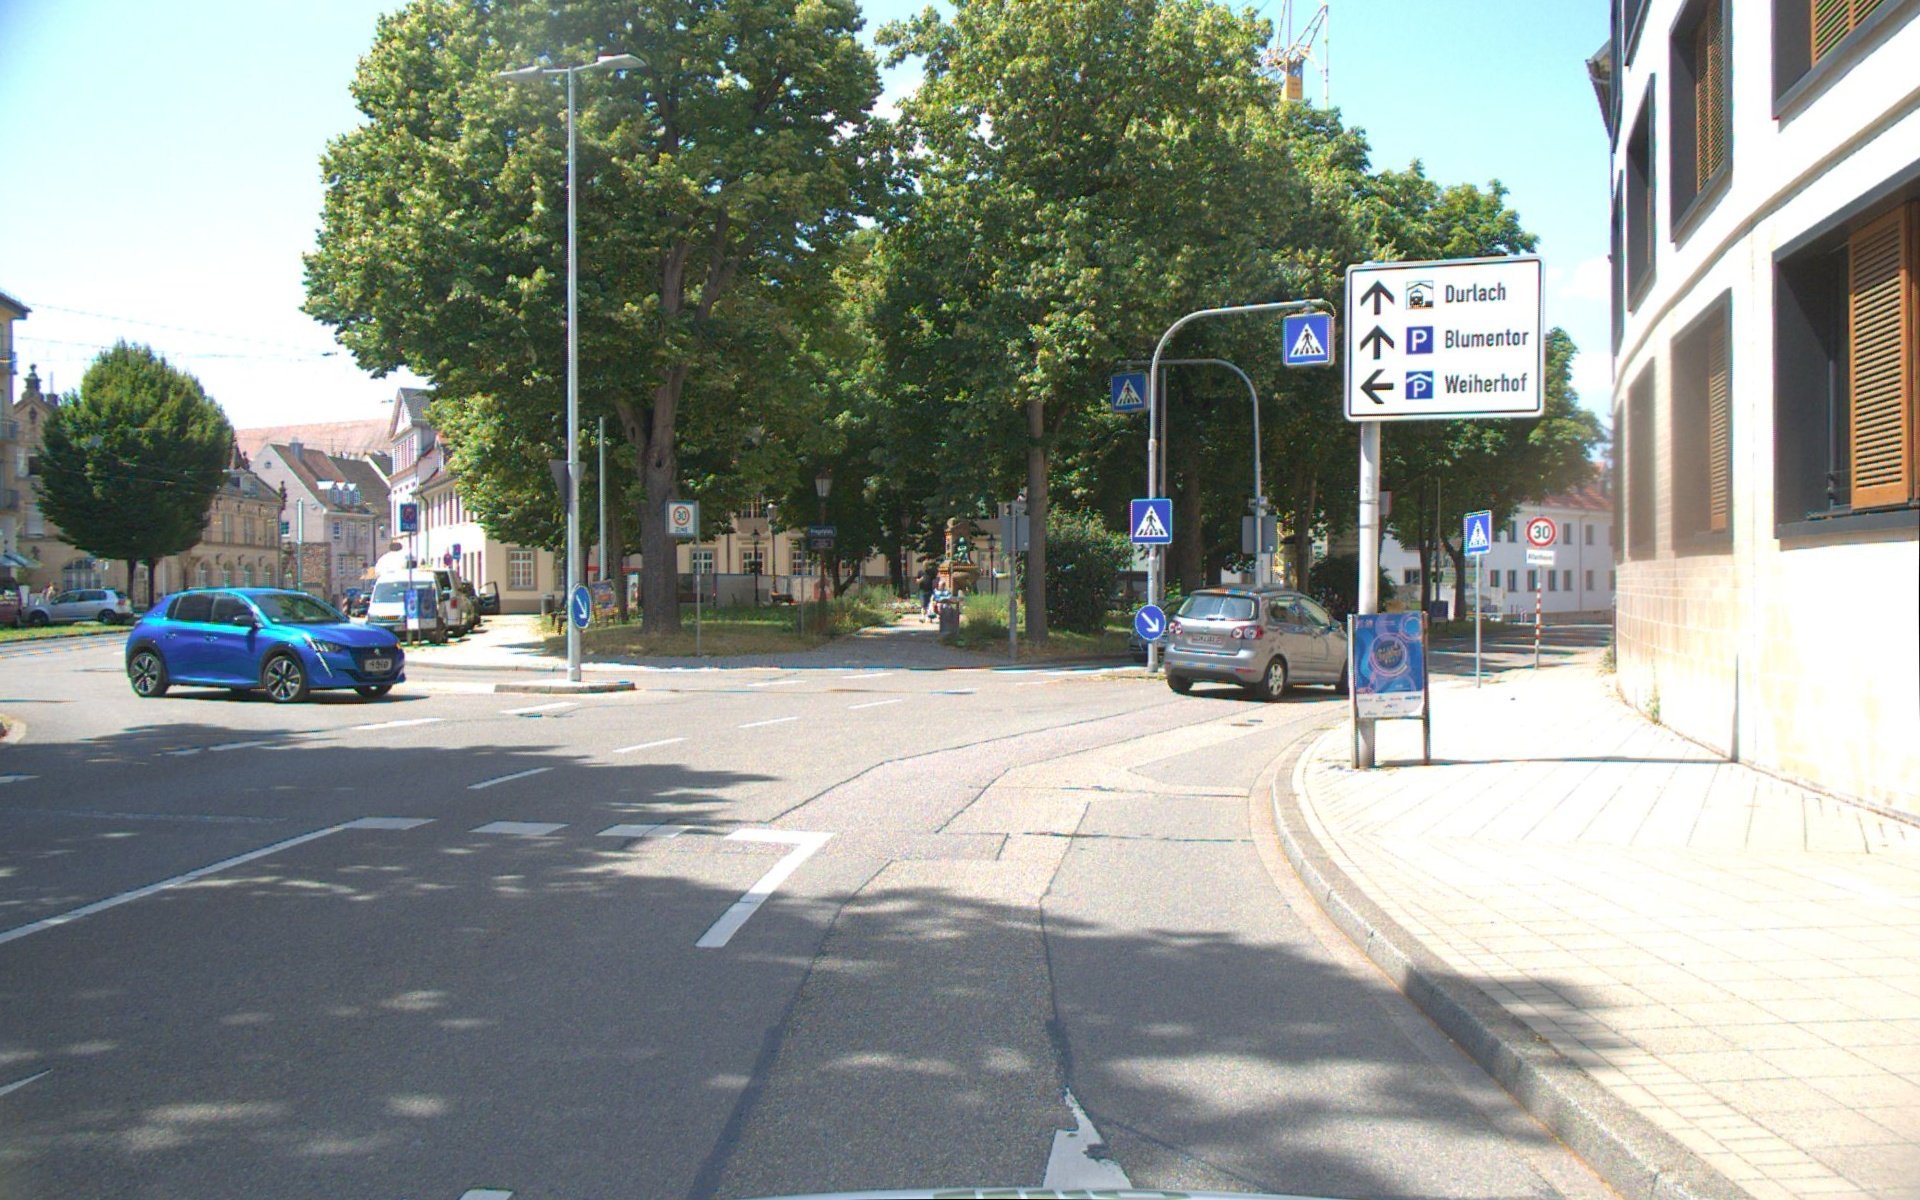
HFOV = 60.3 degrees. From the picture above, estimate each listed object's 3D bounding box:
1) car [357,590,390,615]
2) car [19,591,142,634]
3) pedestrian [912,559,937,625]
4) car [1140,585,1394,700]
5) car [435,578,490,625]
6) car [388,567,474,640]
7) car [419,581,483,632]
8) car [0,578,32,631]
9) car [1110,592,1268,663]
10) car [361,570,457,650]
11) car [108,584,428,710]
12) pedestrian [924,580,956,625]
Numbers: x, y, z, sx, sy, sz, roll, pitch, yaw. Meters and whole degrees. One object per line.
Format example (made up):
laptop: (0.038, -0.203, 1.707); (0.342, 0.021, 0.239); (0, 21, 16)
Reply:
car: (-36.343, 0.125, 102.367); (1.834, 1.512, 3.975); (0, 0, -21)
car: (-36.264, 0.492, 68.284); (4.139, 1.531, 1.993); (-3, 1, -19)
pedestrian: (-1.055, -0.251, 49.128); (0.732, 1.944, 0.684); (0, 2, 0)
car: (4.749, 0.574, 25.197); (1.876, 1.560, 4.217); (2, 1, 42)
car: (-18.898, 0.049, 62.926); (1.752, 1.723, 4.186); (0, 1, -13)
car: (-15.553, 0.068, 48.852); (2.014, 2.037, 5.231); (0, 1, -13)
car: (-17.214, 0.196, 56.084); (1.752, 1.652, 4.470); (0, 1, -13)
car: (-36.639, 0.197, 62.166); (1.822, 1.944, 4.753); (-2, 1, -15)
car: (5.317, 0.587, 37.978); (1.709, 1.514, 4.390); (0, 0, 37)
car: (-13.525, 0.208, 40.789); (1.960, 1.858, 4.405); (0, 1, -15)
car: (-9.291, 0.572, 22.201); (3.908, 1.518, 1.814); (1, 1, 25)
pedestrian: (-0.576, 0.076, 48.331); (0.887, 1.273, 1.148); (0, 2, 1)
